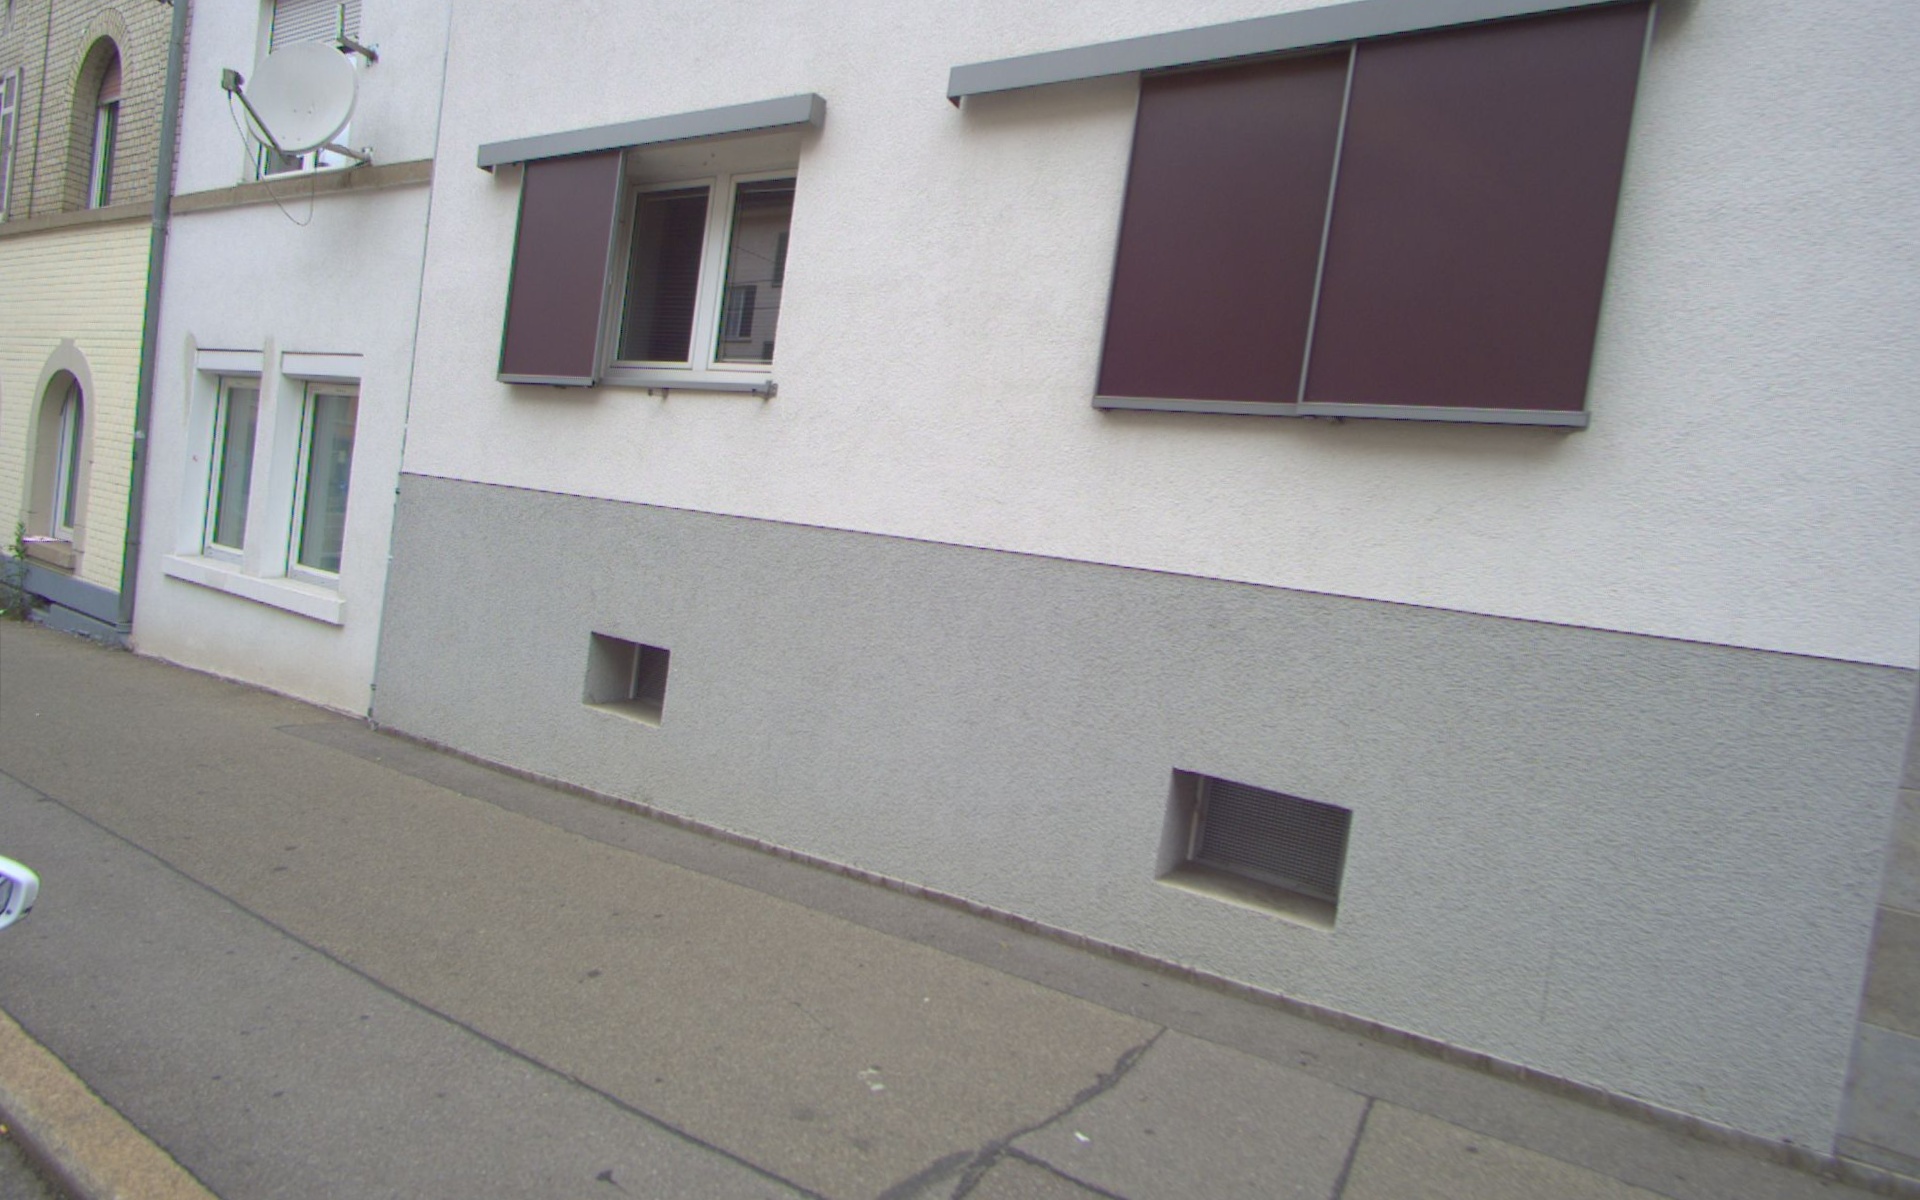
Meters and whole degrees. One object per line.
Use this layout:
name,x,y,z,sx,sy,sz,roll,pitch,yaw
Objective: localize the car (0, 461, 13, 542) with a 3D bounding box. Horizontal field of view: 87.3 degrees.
car,-24.223,-2.511,22.323,1.836,1.907,4.285,9,1,10
